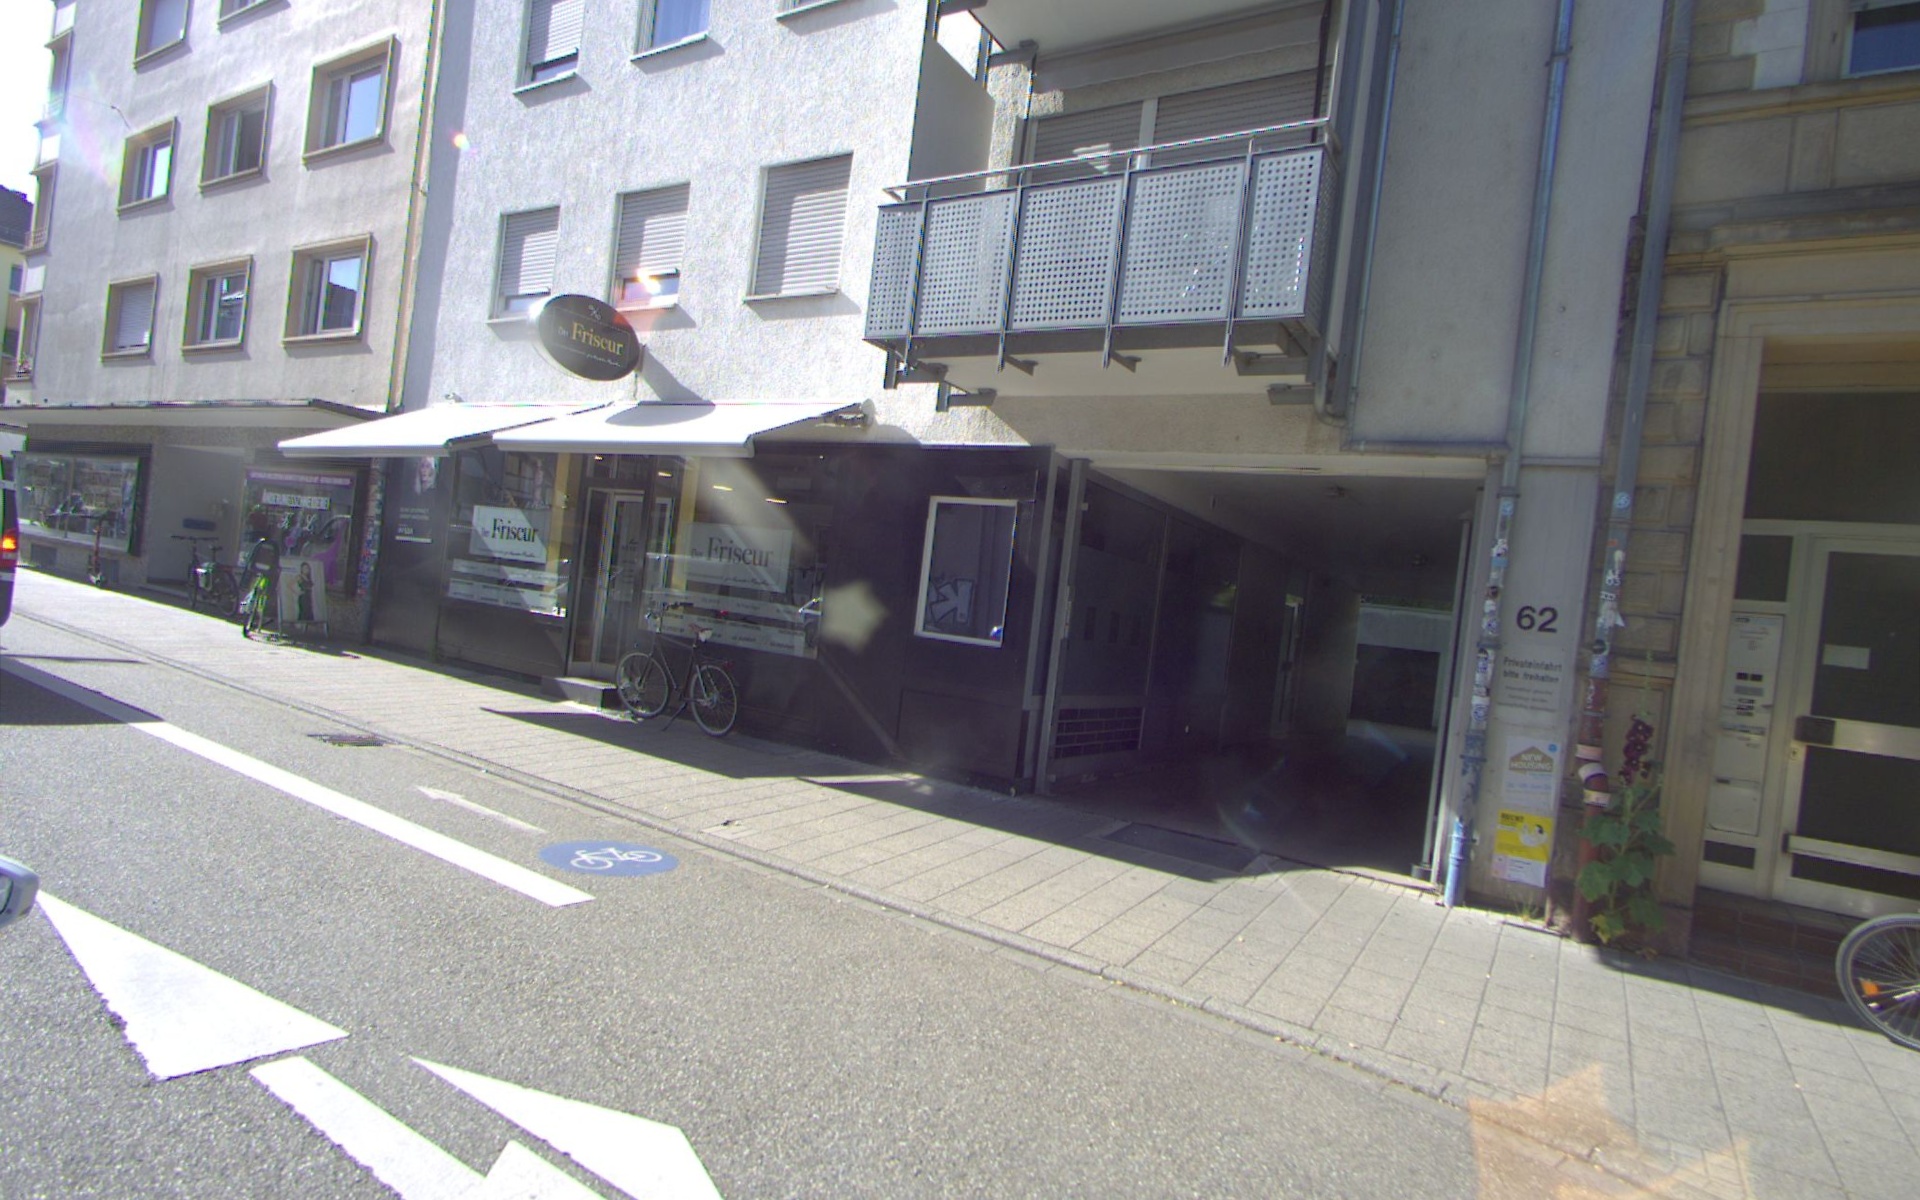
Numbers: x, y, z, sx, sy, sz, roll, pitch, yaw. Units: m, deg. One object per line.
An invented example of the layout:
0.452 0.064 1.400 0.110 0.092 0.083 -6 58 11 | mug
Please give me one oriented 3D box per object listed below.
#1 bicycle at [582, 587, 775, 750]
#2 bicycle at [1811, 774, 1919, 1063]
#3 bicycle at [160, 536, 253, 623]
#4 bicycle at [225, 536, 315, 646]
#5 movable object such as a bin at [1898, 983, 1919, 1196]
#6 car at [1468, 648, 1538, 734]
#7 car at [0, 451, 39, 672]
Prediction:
-2.727 0.625 9.655 1.852 1.285 0.548 7 0 32 | bicycle
4.892 1.496 4.068 2.093 1.163 0.536 7 0 40 | bicycle
-11.355 -0.311 15.150 1.508 1.132 0.524 7 0 32 | bicycle
-8.932 -0.120 13.009 1.198 1.291 0.475 7 4 32 | bicycle
3.895 1.365 3.043 1.026 1.365 1.104 5 1 -19 | movable object such as a bin
15.902 2.569 29.431 1.540 1.566 3.978 7 10 29 | car
-10.370 -0.608 8.956 4.472 1.844 1.987 7 -1 32 | car
